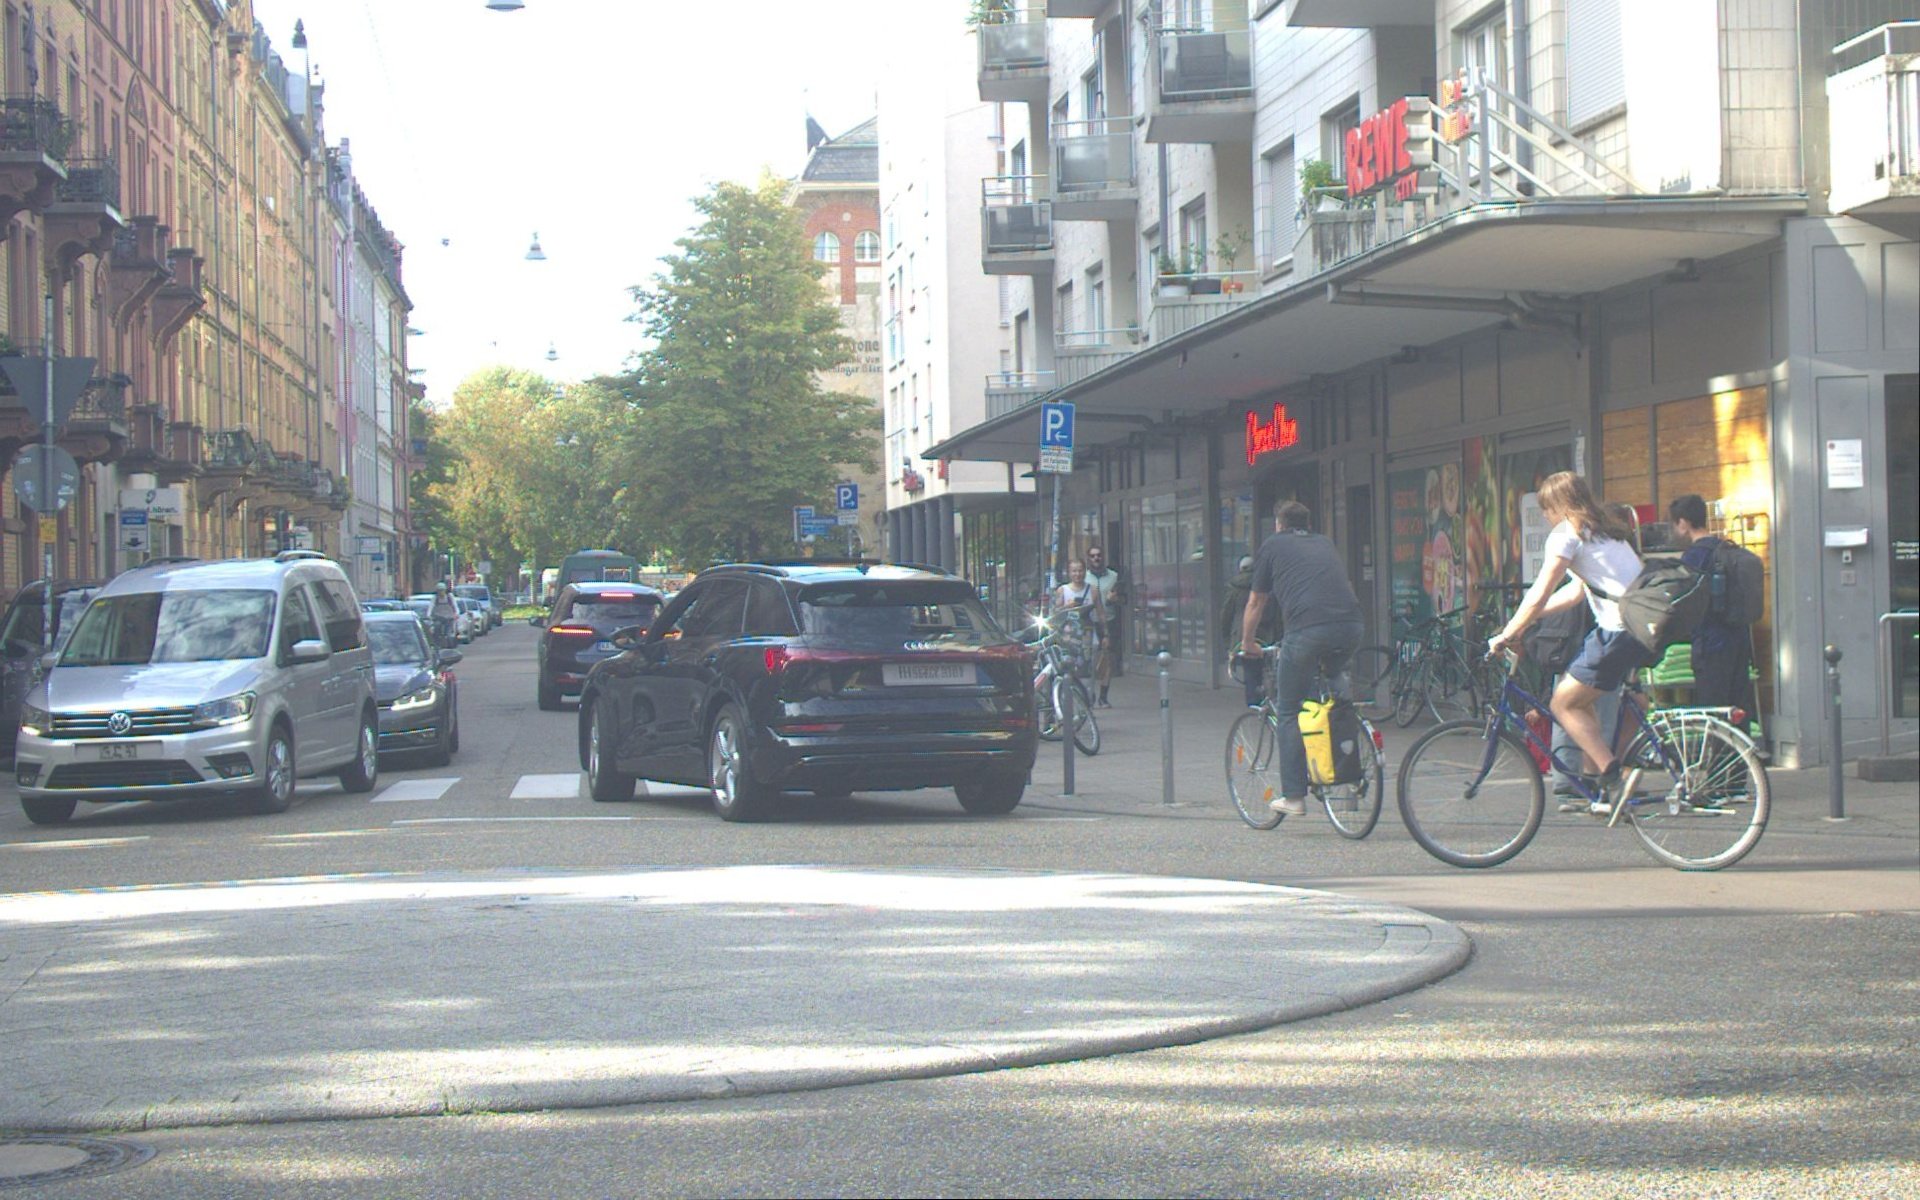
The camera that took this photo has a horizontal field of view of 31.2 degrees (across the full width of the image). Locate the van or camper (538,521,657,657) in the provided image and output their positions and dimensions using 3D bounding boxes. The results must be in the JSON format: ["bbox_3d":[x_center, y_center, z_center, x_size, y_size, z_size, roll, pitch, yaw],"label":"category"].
[{"bbox_3d":[-8.493,-0.263,80.210,2.531,3.027,4.460,-1,0,-8],"label":"van or camper"}]

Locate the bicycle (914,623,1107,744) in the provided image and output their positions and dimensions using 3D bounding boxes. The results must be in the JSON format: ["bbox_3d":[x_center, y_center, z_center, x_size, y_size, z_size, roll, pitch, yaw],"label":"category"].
[{"bbox_3d":[0.473,0.753,31.578,1.785,1.023,0.681,-2,1,-44],"label":"bicycle"}]

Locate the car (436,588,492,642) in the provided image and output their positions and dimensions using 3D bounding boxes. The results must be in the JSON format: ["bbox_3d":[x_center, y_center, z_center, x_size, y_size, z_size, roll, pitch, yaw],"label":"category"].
[{"bbox_3d":[-19.281,0.581,133.646,1.993,2.007,4.001,-1,0,-7],"label":"car"}]

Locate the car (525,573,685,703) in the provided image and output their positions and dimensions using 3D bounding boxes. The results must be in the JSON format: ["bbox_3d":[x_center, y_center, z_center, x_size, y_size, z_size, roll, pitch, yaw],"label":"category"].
[{"bbox_3d":[-4.746,0.474,45.850,1.993,1.612,4.001,-1,0,-6],"label":"car"}]

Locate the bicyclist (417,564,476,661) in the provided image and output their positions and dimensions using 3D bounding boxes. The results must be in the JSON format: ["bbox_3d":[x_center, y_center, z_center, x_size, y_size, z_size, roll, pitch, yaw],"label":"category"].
[{"bbox_3d":[-10.750,0.256,71.946,1.132,1.991,1.028,1,0,-10],"label":"bicyclist"}]

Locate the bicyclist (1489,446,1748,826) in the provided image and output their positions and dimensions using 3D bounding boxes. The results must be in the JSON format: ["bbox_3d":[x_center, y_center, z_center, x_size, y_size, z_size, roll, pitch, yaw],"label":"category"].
[{"bbox_3d":[3.014,0.162,15.671,1.014,1.663,0.943,-1,0,18],"label":"bicyclist"}]

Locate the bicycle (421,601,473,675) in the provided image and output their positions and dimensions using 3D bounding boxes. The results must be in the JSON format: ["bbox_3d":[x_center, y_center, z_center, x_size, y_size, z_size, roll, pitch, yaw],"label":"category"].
[{"bbox_3d":[-10.753,0.782,72.001,0.925,1.484,3.465,1,0,-10],"label":"bicycle"}]

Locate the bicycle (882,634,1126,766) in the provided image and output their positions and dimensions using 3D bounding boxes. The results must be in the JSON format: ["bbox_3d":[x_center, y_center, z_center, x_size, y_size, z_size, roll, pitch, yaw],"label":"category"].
[{"bbox_3d":[0.365,0.837,29.013,2.000,1.042,0.532,-2,0,-3],"label":"bicycle"}]

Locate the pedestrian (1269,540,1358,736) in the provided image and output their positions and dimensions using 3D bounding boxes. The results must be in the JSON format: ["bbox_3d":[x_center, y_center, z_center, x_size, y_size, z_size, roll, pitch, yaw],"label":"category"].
[{"bbox_3d":[3.148,0.331,30.651,0.741,1.707,0.733,-1,0,5],"label":"pedestrian"}]

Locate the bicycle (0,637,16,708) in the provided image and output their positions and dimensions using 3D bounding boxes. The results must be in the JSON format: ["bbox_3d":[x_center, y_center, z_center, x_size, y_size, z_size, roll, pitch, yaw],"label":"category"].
[{"bbox_3d":[-13.431,1.007,47.933,0.360,0.944,1.716,0,0,-11],"label":"bicycle"}]

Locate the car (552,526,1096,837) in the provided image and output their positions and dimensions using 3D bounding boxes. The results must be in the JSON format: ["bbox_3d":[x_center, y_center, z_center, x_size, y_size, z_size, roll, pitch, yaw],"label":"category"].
[{"bbox_3d":[-1.041,0.430,22.609,2.035,1.718,4.847,-3,2,-21],"label":"car"}]

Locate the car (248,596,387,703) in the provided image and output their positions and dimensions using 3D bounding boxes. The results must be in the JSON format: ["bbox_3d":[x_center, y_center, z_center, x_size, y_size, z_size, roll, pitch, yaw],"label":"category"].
[{"bbox_3d":[-11.883,0.883,63.828,1.927,1.718,4.288,-3,2,-3],"label":"car"}]

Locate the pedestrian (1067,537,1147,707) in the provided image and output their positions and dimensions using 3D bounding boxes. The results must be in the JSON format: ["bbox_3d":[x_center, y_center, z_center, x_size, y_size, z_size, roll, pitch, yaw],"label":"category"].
[{"bbox_3d":[1.644,0.240,38.394,0.730,1.858,1.062,-1,0,9],"label":"pedestrian"}]

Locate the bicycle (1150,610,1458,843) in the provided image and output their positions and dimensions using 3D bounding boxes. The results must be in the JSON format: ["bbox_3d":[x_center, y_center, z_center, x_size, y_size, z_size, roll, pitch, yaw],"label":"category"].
[{"bbox_3d":[1.837,0.651,18.838,0.665,1.174,2.498,0,0,-20],"label":"bicycle"}]

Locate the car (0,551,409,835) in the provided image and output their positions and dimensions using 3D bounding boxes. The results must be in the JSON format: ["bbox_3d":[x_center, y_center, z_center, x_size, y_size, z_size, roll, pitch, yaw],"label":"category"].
[{"bbox_3d":[-5.399,0.587,24.785,1.793,1.784,4.735,-2,0,3],"label":"car"}]

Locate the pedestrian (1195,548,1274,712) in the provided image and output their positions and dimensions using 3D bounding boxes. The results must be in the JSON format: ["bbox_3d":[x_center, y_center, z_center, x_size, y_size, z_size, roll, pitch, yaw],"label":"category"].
[{"bbox_3d":[2.774,0.294,34.678,0.745,1.623,0.812,-1,0,5],"label":"pedestrian"}]

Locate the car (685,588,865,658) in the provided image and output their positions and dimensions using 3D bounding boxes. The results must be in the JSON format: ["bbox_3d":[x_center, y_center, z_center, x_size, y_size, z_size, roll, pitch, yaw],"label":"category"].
[{"bbox_3d":[-4.326,0.522,80.178,3.986,1.481,2.000,-2,0,-8],"label":"car"}]

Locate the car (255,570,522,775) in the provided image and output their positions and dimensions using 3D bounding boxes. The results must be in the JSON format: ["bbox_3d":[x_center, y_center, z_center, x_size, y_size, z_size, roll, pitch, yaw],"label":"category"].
[{"bbox_3d":[-5.335,0.617,32.673,1.927,1.719,4.736,-3,1,-3],"label":"car"}]

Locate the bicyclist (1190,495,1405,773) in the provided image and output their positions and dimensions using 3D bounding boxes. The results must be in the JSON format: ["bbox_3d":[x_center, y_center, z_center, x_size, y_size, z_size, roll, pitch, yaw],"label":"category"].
[{"bbox_3d":[1.836,0.181,18.765,0.933,1.479,0.747,0,0,-20],"label":"bicyclist"}]

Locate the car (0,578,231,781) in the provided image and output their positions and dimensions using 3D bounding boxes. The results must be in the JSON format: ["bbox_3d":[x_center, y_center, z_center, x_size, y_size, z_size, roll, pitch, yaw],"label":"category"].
[{"bbox_3d":[-8.284,0.708,33.232,1.782,1.718,4.445,0,2,-3],"label":"car"}]

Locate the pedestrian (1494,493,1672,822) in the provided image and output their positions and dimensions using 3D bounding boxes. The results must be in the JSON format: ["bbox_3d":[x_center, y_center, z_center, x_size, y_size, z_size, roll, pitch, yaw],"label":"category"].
[{"bbox_3d":[3.574,0.323,19.772,0.869,1.845,0.612,-1,0,-1],"label":"pedestrian"}]

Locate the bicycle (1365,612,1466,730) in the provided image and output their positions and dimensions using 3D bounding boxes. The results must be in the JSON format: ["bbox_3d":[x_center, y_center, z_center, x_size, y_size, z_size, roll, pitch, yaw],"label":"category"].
[{"bbox_3d":[4.023,0.613,30.451,0.360,0.995,1.716,-1,0,-10],"label":"bicycle"}]

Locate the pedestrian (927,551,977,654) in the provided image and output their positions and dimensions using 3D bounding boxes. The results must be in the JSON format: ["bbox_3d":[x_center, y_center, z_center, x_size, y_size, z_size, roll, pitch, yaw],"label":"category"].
[{"bbox_3d":[-0.162,0.047,68.615,0.900,2.007,0.735,-2,0,-5],"label":"pedestrian"}]

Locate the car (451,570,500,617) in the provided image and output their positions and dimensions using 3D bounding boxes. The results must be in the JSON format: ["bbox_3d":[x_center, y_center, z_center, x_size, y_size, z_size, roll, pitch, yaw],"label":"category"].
[{"bbox_3d":[-21.512,-0.299,152.666,1.993,2.007,4.001,-1,0,-7],"label":"car"}]

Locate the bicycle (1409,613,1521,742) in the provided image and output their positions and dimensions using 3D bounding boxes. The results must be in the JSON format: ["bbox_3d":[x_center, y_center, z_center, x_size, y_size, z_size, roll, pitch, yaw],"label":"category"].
[{"bbox_3d":[4.116,0.617,28.089,0.362,1.013,1.431,-1,0,-14],"label":"bicycle"}]

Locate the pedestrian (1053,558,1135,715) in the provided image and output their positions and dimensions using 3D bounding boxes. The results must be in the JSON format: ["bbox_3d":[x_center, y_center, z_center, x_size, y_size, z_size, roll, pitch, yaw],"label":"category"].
[{"bbox_3d":[1.409,0.374,36.033,0.730,1.605,0.790,-1,0,9],"label":"pedestrian"}]

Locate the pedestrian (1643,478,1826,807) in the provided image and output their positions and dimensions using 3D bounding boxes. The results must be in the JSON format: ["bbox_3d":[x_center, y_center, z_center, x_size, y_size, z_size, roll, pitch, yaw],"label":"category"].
[{"bbox_3d":[4.449,0.239,19.775,0.869,1.845,0.612,-1,0,-1],"label":"pedestrian"}]

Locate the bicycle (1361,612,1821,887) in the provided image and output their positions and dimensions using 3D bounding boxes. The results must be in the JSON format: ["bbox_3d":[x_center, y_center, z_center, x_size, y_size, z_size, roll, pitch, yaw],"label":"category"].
[{"bbox_3d":[2.889,0.677,15.733,1.970,1.195,0.711,-1,0,18],"label":"bicycle"}]
